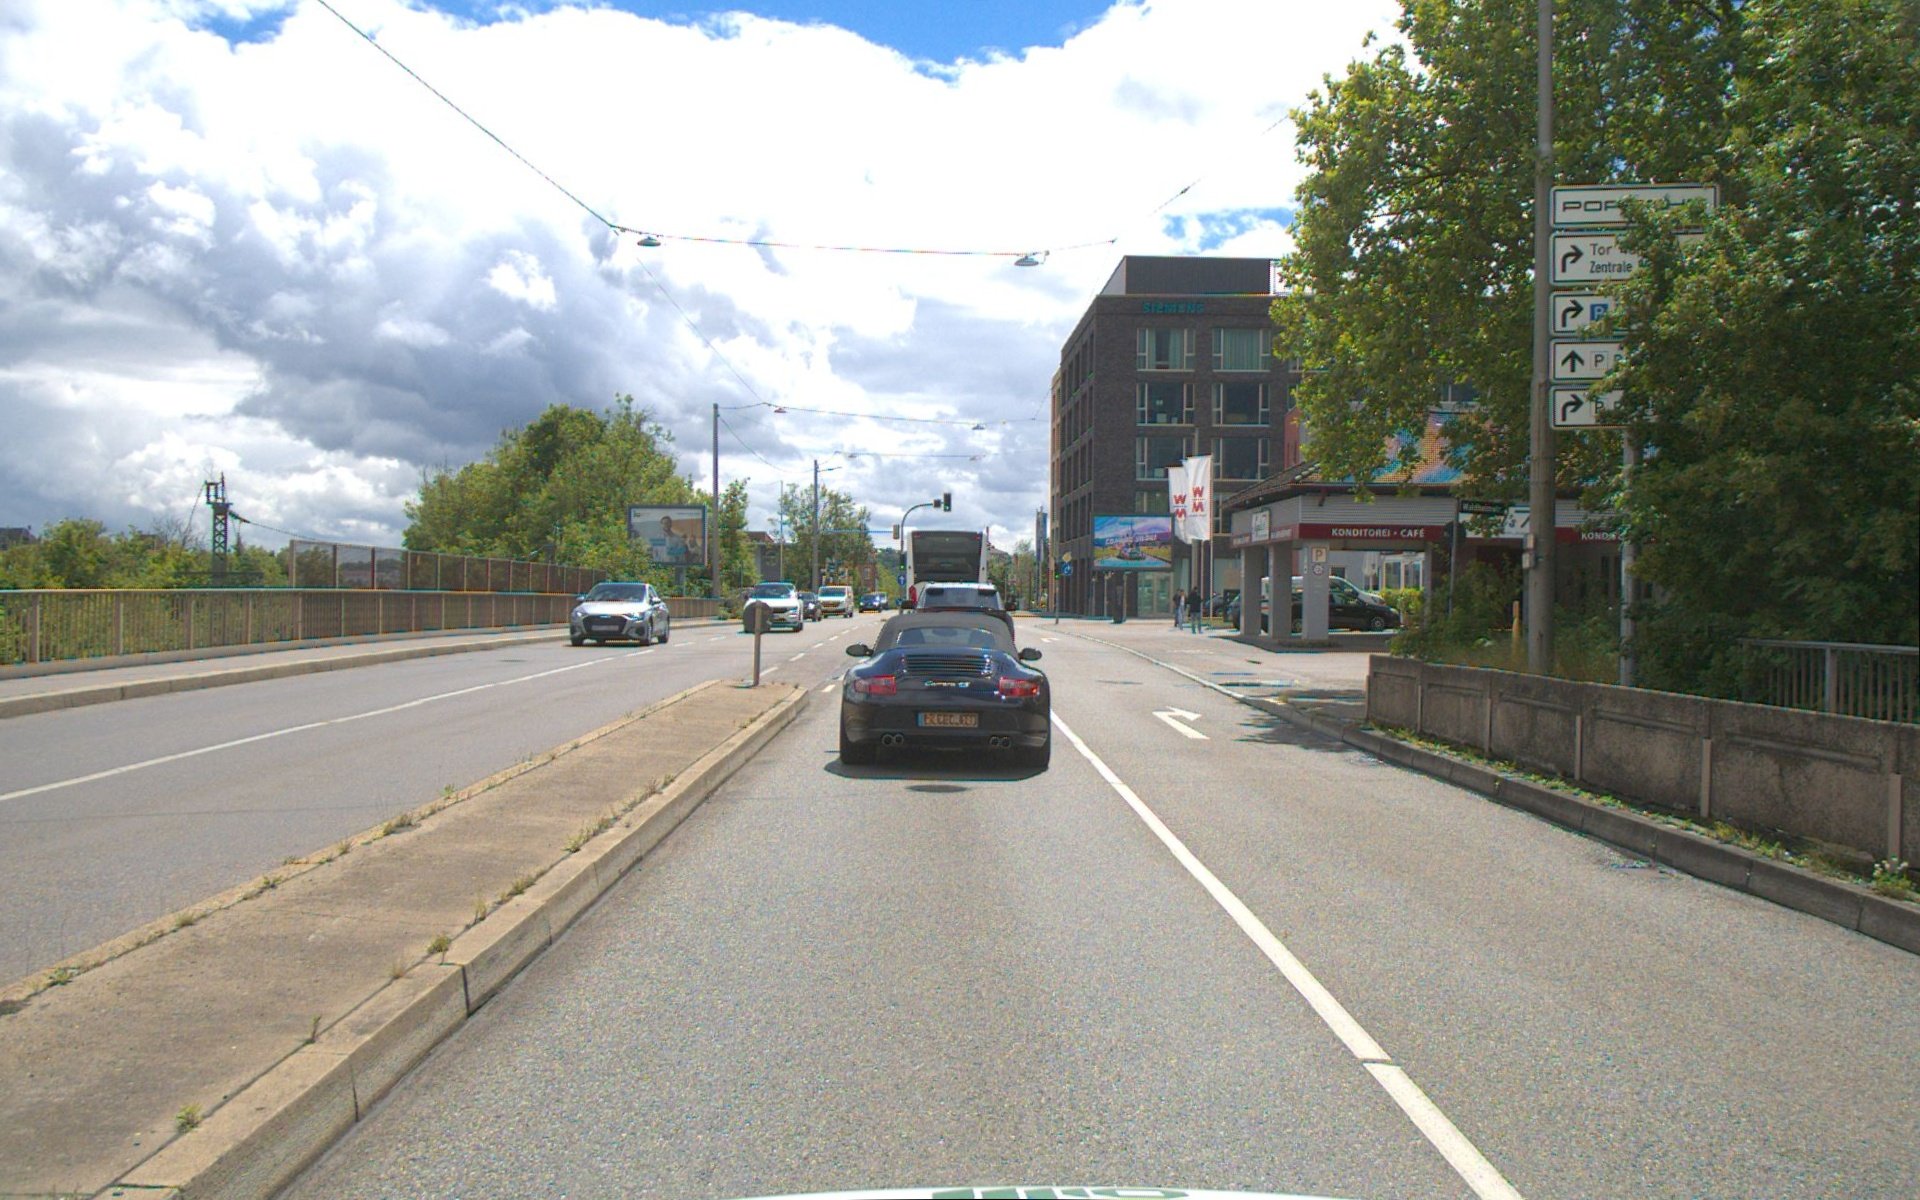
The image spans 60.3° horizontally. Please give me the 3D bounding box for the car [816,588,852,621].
[{"bbox_3d":[-7.764,0.277,102.449,1.863,1.920,5.312,-1,0,-1],"label":"car"}]

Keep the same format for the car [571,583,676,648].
[{"bbox_3d":[-7.661,0.318,37.942,1.603,1.387,4.194,0,0,-1],"label":"car"}]

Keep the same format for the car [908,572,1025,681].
[{"bbox_3d":[0.051,0.397,28.889,1.842,1.621,4.229,2,2,-2],"label":"car"}]

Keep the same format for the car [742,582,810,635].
[{"bbox_3d":[-5.827,0.245,52.723,1.773,1.587,4.206,1,0,-1],"label":"car"}]

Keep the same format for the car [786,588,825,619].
[{"bbox_3d":[-7.731,0.177,83.154,1.595,1.455,3.999,1,0,-1],"label":"car"}]

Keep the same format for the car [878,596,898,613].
[{"bbox_3d":[-6.560,0.416,150.224,1.628,1.574,3.802,1,0,0],"label":"car"}]

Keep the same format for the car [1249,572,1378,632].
[{"bbox_3d":[12.588,0.081,59.088,4.144,1.970,2.029,-2,0,0],"label":"car"}]

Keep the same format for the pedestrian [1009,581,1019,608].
[{"bbox_3d":[4.031,-0.422,123.752,0.653,2.049,0.769,1,0,-2],"label":"pedestrian"}]

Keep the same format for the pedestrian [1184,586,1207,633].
[{"bbox_3d":[8.660,0.340,60.731,0.666,1.726,0.598,1,0,25],"label":"pedestrian"}]

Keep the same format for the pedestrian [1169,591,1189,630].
[{"bbox_3d":[9.572,0.457,72.434,0.693,1.726,0.924,1,0,-4],"label":"pedestrian"}]

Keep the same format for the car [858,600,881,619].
[{"bbox_3d":[-7.156,0.752,130.784,1.628,1.440,3.802,1,0,0],"label":"car"}]

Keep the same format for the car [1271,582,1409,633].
[{"bbox_3d":[12.820,0.267,56.009,4.212,1.539,1.846,-2,-1,0],"label":"car"}]

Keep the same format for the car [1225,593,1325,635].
[{"bbox_3d":[12.721,0.576,66.890,3.682,1.466,1.719,-3,0,0],"label":"car"}]

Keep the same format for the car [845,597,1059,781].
[{"bbox_3d":[-0.120,0.714,15.362,1.685,1.297,4.087,2,2,-2],"label":"car"}]

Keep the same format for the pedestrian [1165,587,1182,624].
[{"bbox_3d":[9.960,0.265,77.100,0.657,1.690,0.742,1,0,-2],"label":"pedestrian"}]

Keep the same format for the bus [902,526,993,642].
[{"bbox_3d":[-0.349,-0.755,56.432,2.634,3.311,12.062,2,3,0],"label":"bus"}]
